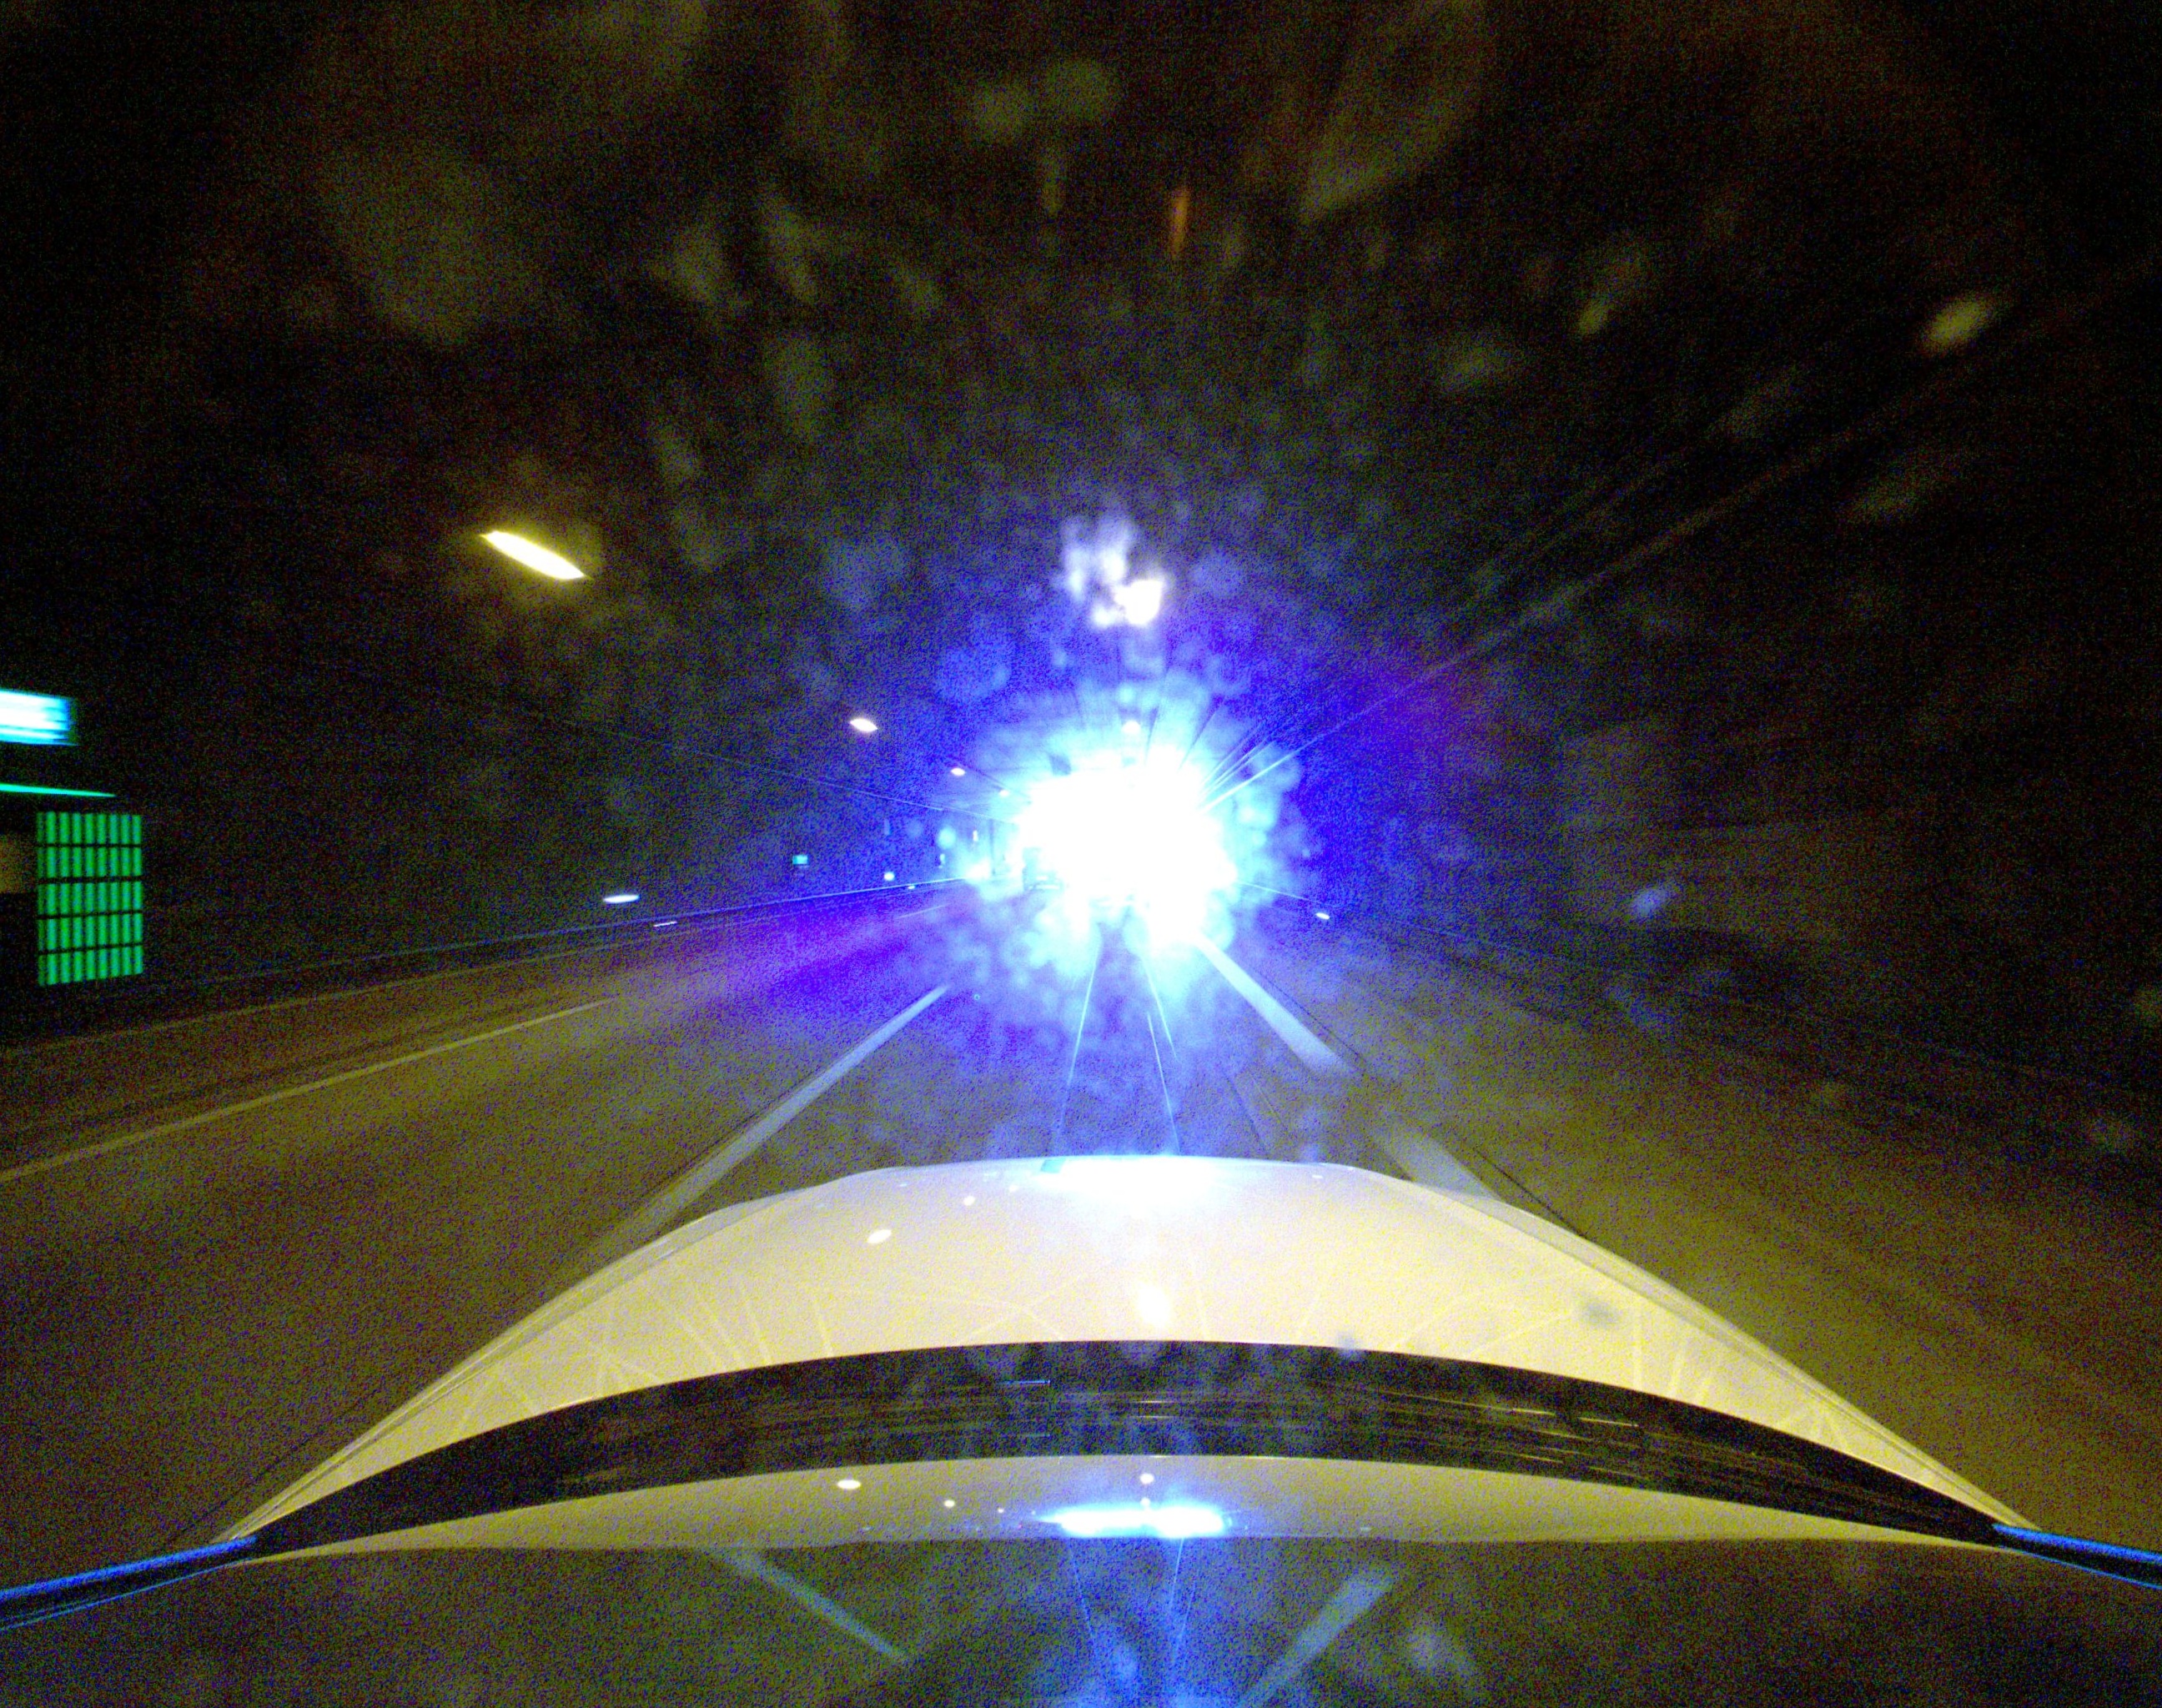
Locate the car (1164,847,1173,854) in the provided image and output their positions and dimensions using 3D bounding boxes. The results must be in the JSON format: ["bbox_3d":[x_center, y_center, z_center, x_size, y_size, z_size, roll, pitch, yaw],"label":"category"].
[{"bbox_3d":[22.271,-0.861,206.783,1.981,1.632,4.011,-2,-2,10],"label":"car"}]

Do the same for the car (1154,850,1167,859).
[{"bbox_3d":[15.838,0.155,162.116,1.981,1.632,4.012,-2,-2,11],"label":"car"}]

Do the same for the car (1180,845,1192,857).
[{"bbox_3d":[19.993,-0.500,155.323,1.982,2.014,4.009,-2,-3,9],"label":"car"}]

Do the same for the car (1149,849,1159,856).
[{"bbox_3d":[18.721,-0.368,208.606,1.918,1.642,4.013,-1,0,11],"label":"car"}]

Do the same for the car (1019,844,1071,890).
[{"bbox_3d":[-1.578,0.544,37.117,1.901,1.944,3.875,-1,0,4],"label":"car"}]

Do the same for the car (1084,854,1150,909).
[{"bbox_3d":[1.064,0.750,24.061,1.735,1.464,3.873,-1,0,2],"label":"car"}]

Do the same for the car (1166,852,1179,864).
[{"bbox_3d":[14.191,0.565,125.889,1.920,1.643,4.008,-2,-3,8],"label":"car"}]

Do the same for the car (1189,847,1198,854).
[{"bbox_3d":[26.128,-0.787,189.451,1.919,1.642,4.011,-1,0,10],"label":"car"}]

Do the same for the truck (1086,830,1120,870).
[{"bbox_3d":[2.232,-0.340,79.550,3.026,3.673,7.399,-1,0,3],"label":"truck"}]

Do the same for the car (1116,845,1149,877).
[{"bbox_3d":[3.179,0.408,49.574,1.848,1.854,4.006,-1,0,5],"label":"car"}]
